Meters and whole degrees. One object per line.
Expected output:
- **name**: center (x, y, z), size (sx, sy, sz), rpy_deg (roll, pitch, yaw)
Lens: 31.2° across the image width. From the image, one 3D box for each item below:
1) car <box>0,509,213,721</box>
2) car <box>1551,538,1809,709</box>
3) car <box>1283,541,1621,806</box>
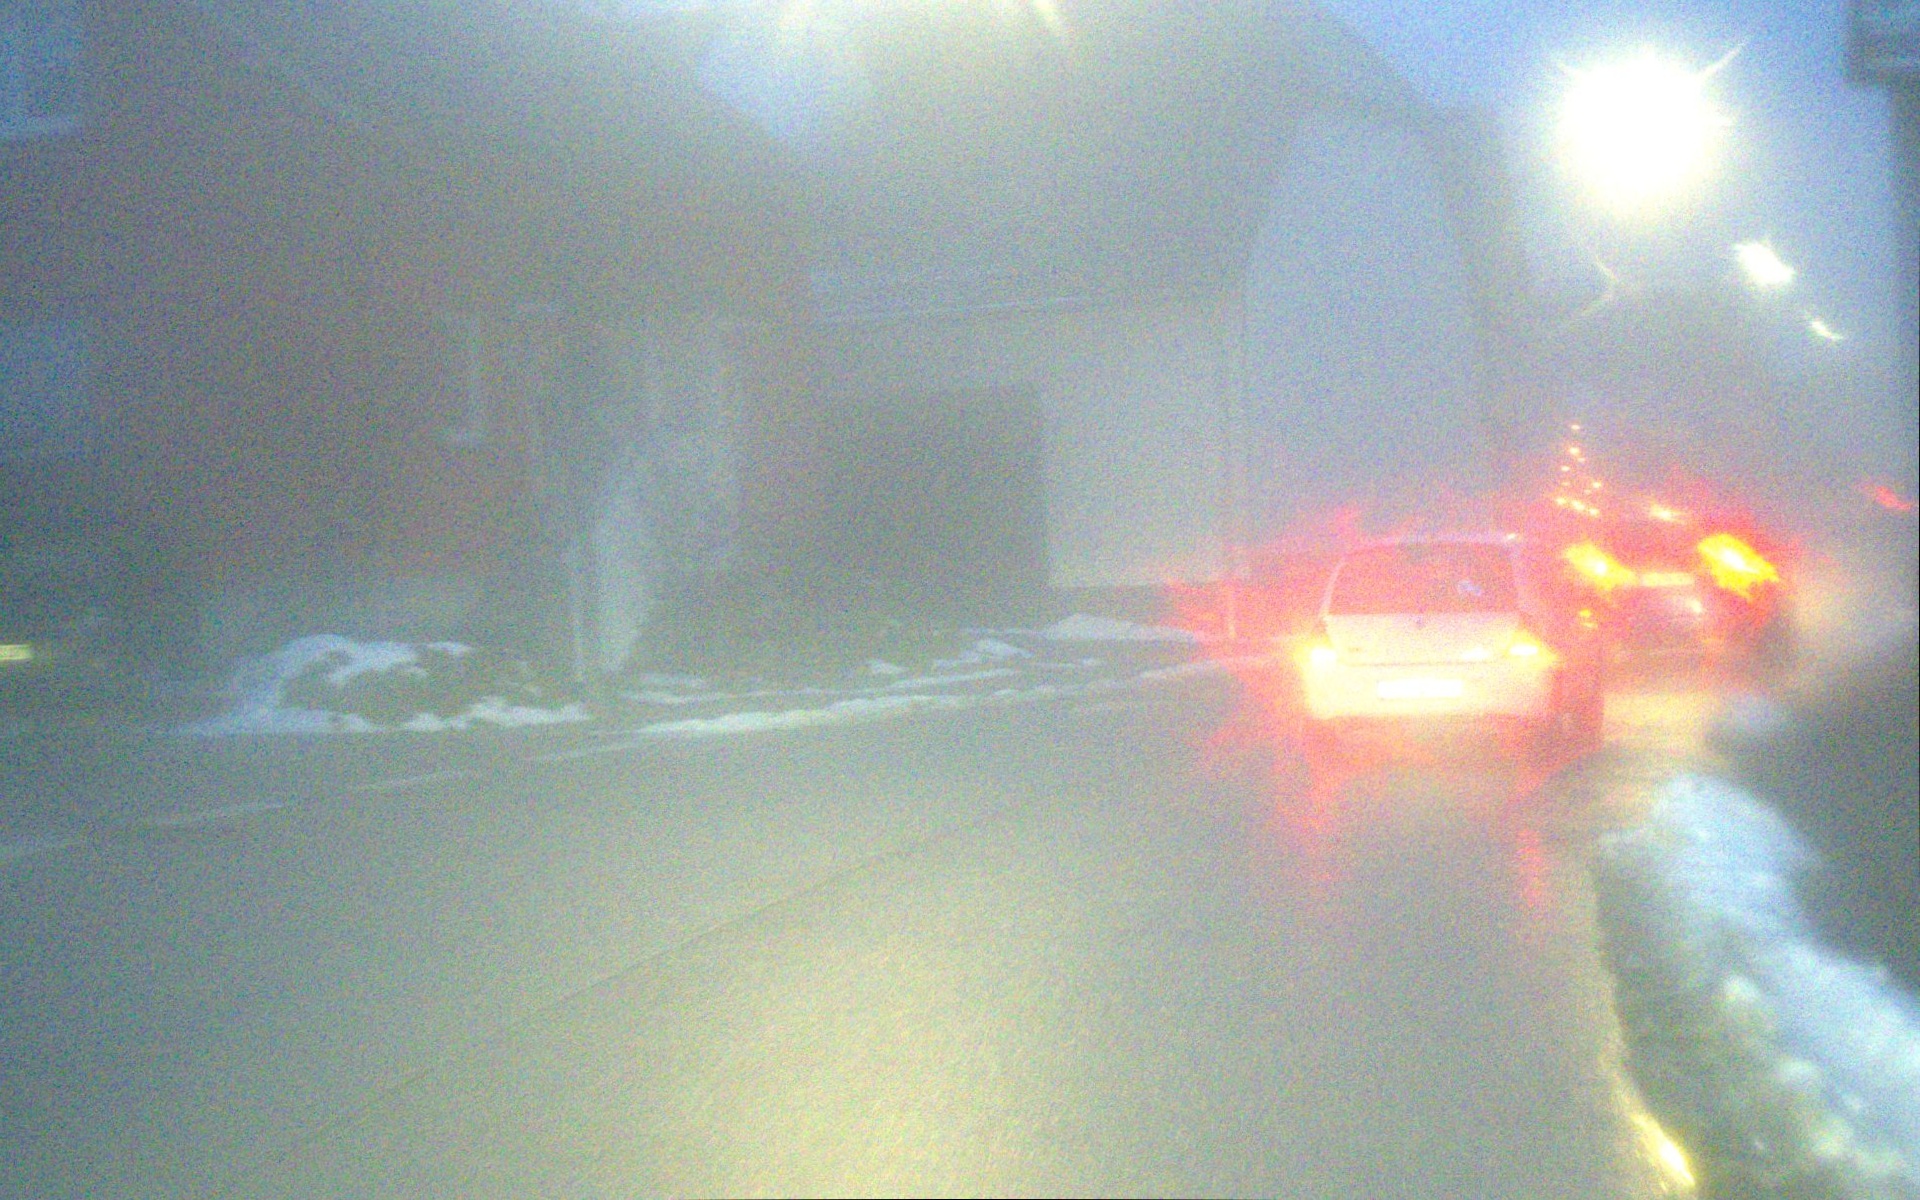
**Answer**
- **car**: center (-6.946, 0.106, 26.351), size (1.873, 1.499, 4.001), rpy_deg (0, 0, -5)
- **car**: center (7.171, 0.207, 34.021), size (1.647, 1.590, 3.694), rpy_deg (0, 0, 26)
- **car**: center (3.326, 0.436, 22.715), size (1.646, 1.590, 3.696), rpy_deg (0, 0, 17)
